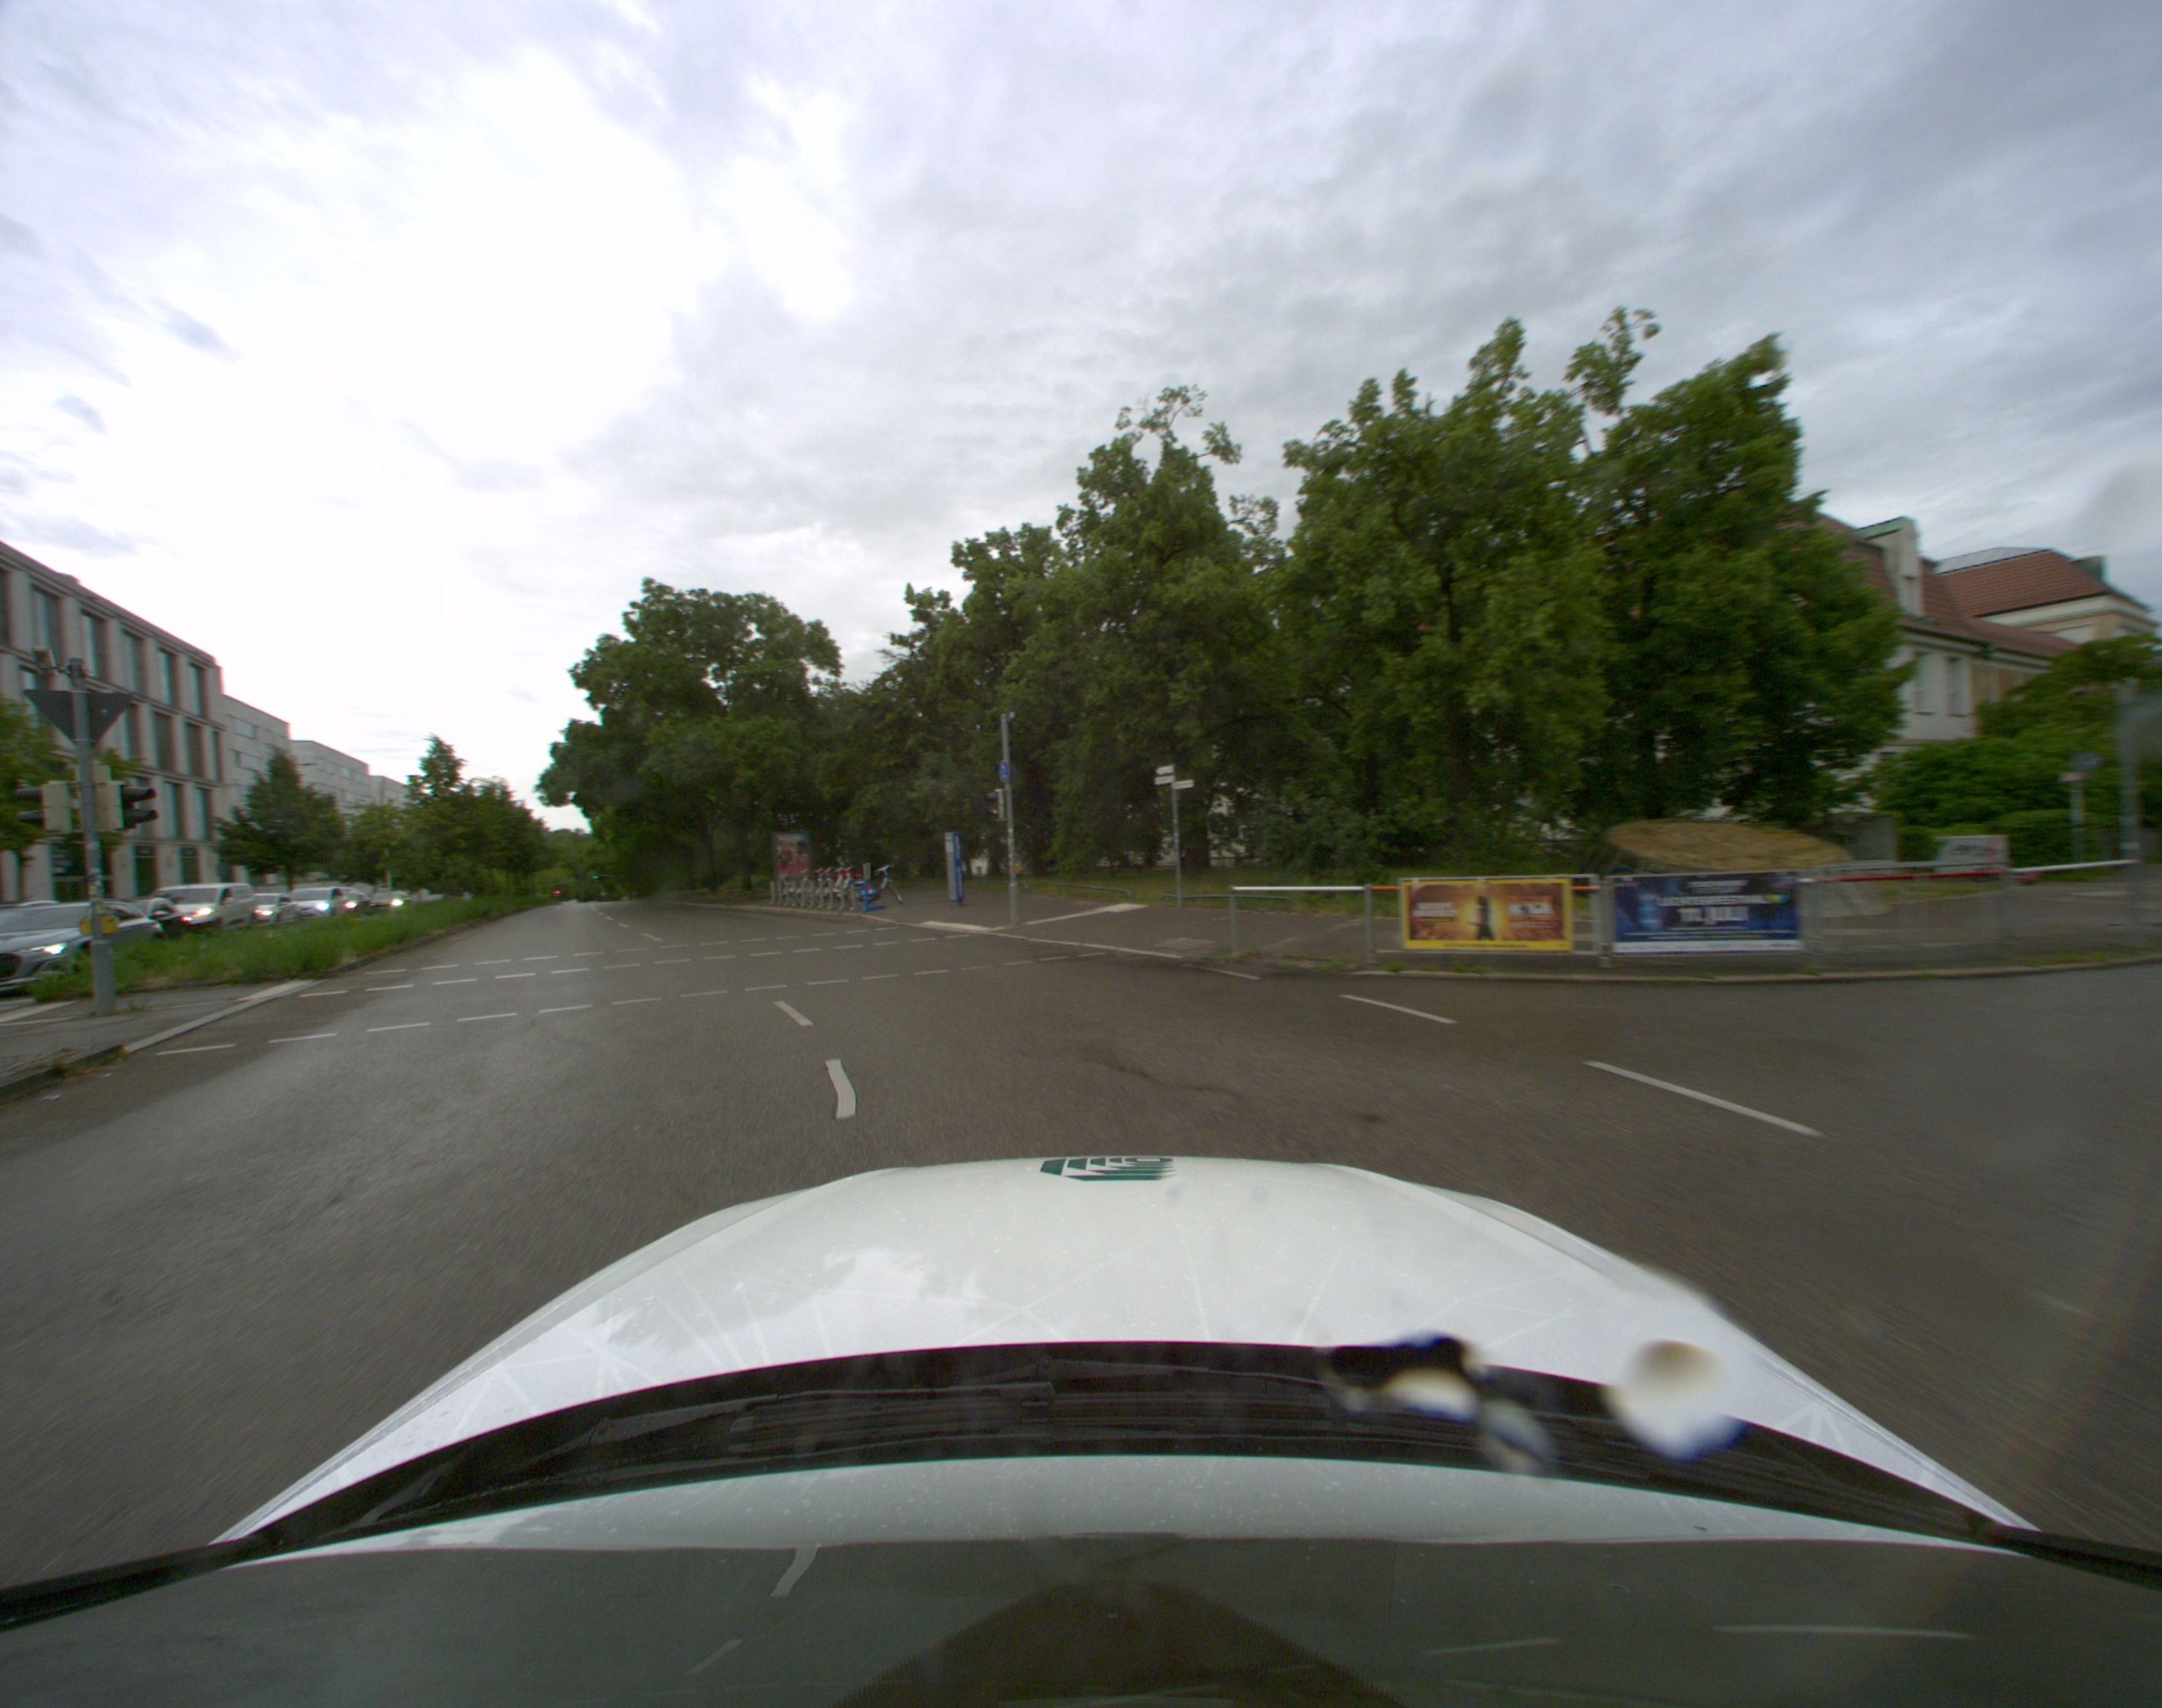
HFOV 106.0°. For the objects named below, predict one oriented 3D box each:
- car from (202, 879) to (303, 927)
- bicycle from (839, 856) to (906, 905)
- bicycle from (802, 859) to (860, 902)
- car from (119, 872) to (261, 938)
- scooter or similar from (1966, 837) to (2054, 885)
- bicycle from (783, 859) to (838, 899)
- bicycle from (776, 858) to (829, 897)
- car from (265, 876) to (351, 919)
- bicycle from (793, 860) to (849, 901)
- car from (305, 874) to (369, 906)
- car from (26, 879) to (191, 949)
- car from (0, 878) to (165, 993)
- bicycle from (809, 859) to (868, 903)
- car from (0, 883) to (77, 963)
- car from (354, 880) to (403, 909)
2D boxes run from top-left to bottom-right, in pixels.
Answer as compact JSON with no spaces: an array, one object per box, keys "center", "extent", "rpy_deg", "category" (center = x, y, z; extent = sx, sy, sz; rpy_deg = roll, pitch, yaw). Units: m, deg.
[{"center":[-32.677,1.879,32.266],"extent":[1.755,1.467,4.020],"rpy_deg":[-5,3,-31],"category":"car"},{"center":[-5.718,0.718,22.368],"extent":[1.609,1.131,0.550],"rpy_deg":[-7,3,-38],"category":"bicycle"},{"center":[-7.726,0.811,25.171],"extent":[1.498,1.131,0.550],"rpy_deg":[-7,3,-38],"category":"bicycle"},{"center":[-29.438,1.593,27.114],"extent":[1.856,1.802,4.726],"rpy_deg":[-2,2,-31],"category":"car"},{"center":[18.844,0.131,16.533],"extent":[1.080,0.954,0.540],"rpy_deg":[0,1,8],"category":"scooter or similar"},{"center":[-8.891,0.809,26.789],"extent":[1.498,1.131,0.550],"rpy_deg":[-7,3,-38],"category":"bicycle"},{"center":[-9.406,0.798,27.497],"extent":[1.498,1.131,0.550],"rpy_deg":[-7,3,-38],"category":"bicycle"},{"center":[-35.908,1.958,37.960],"extent":[1.841,1.600,4.628],"rpy_deg":[-5,3,-31],"category":"car"},{"center":[-8.265,0.829,25.893],"extent":[1.498,1.131,0.550],"rpy_deg":[-7,3,-38],"category":"bicycle"},{"center":[-39.384,1.872,43.221],"extent":[1.652,1.410,3.957],"rpy_deg":[-5,3,-31],"category":"car"},{"center":[-26.422,1.560,22.294],"extent":[1.727,1.460,3.712],"rpy_deg":[-5,3,-32],"category":"car"},{"center":[-17.963,1.324,13.978],"extent":[1.861,1.575,4.122],"rpy_deg":[-2,2,-33],"category":"car"},{"center":[-7.278,0.792,24.504],"extent":[1.498,1.131,0.550],"rpy_deg":[-7,3,-38],"category":"bicycle"},{"center":[-24.152,1.563,17.733],"extent":[1.661,1.576,3.665],"rpy_deg":[-5,3,-32],"category":"car"},{"center":[-44.278,2.518,51.418],"extent":[1.706,1.581,3.977],"rpy_deg":[-3,1,-32],"category":"car"}]
